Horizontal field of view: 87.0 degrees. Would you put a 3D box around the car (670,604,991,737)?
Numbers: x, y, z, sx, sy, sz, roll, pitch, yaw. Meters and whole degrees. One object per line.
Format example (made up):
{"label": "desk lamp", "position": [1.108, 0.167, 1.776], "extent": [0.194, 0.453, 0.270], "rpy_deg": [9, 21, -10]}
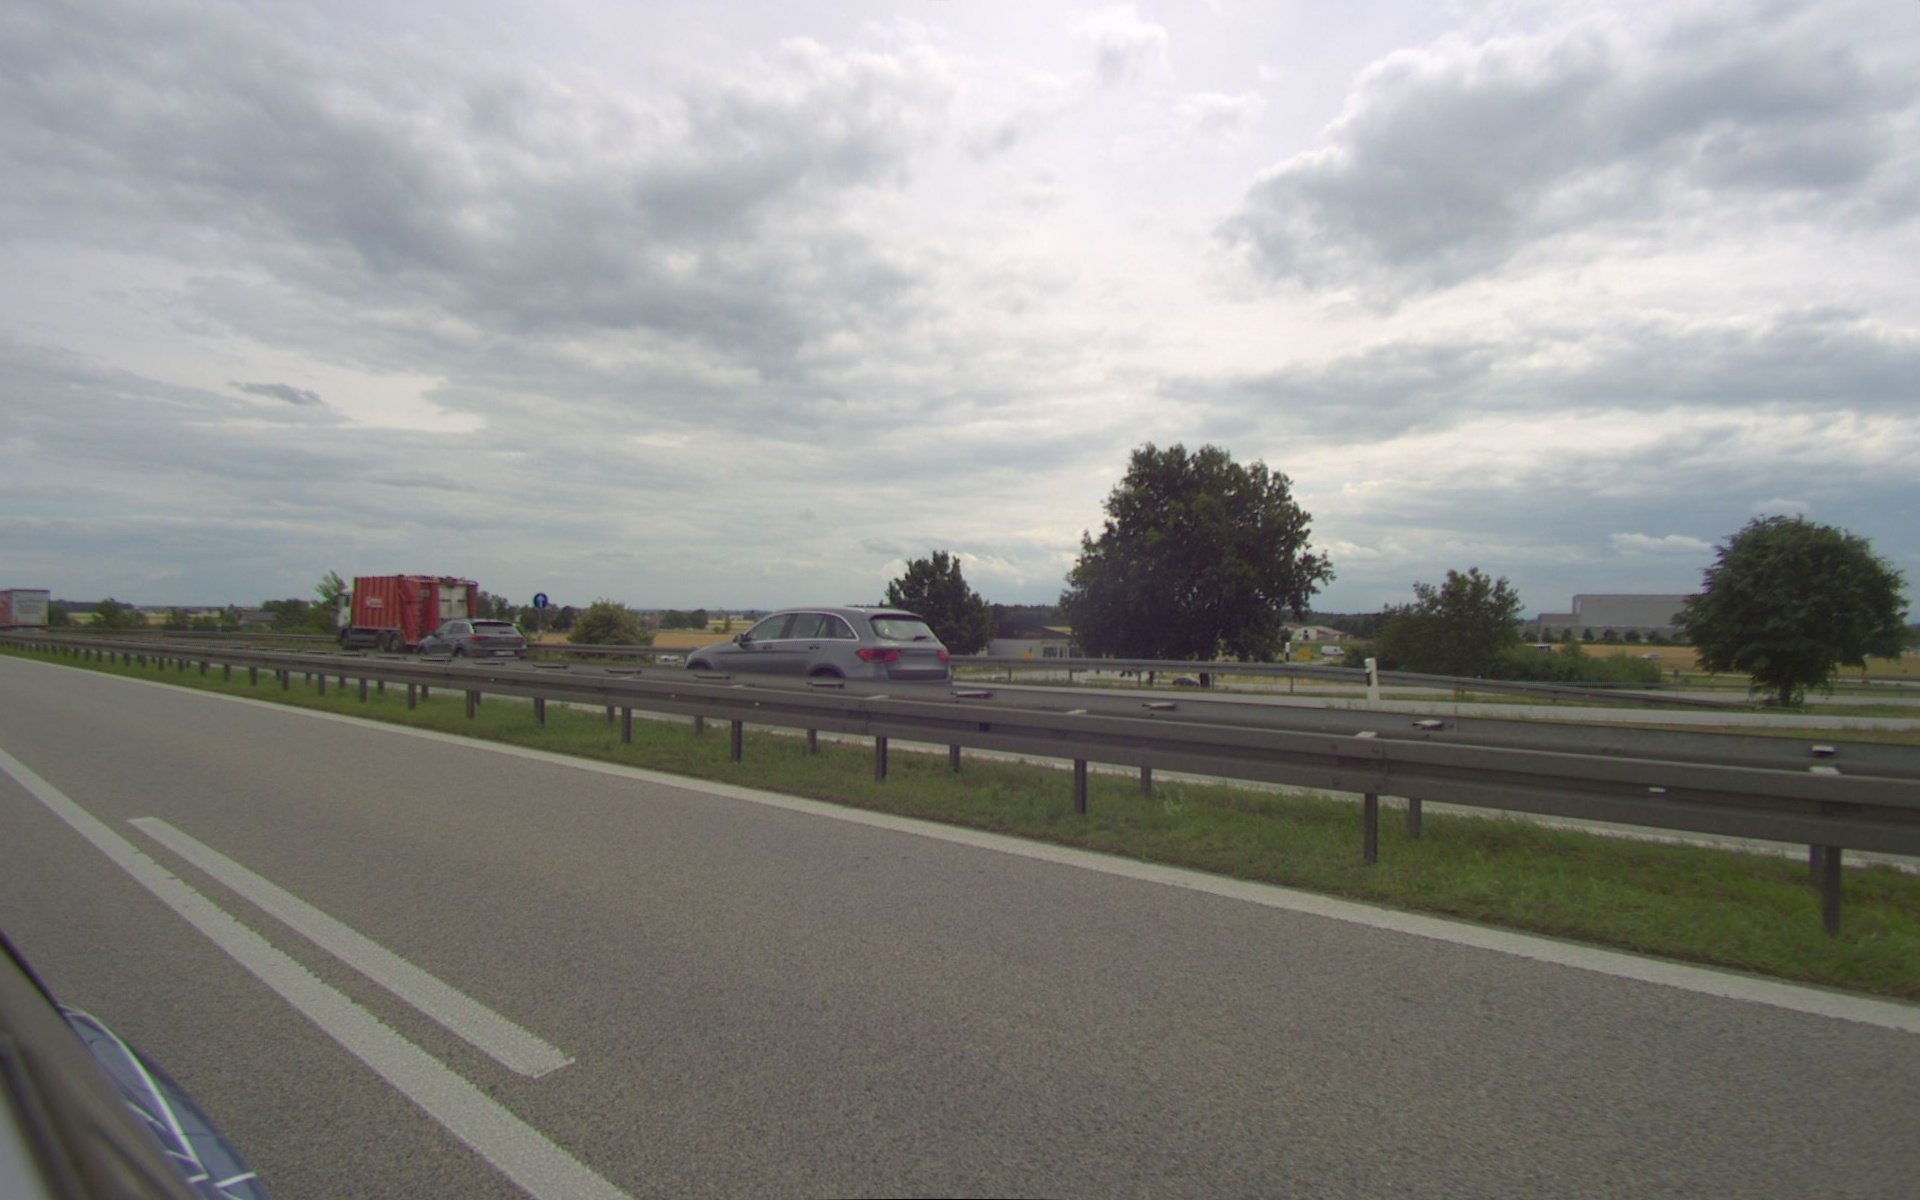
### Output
{"label": "car", "position": [-1.985, 0.915, 14.455], "extent": [4.760, 1.600, 1.871], "rpy_deg": [-1, -3, 41]}

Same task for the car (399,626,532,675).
{"label": "car", "position": [-14.671, 1.449, 29.906], "extent": [4.781, 1.356, 1.806], "rpy_deg": [-1, -3, 41]}

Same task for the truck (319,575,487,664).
{"label": "truck", "position": [-25.113, 0.911, 45.279], "extent": [11.069, 3.563, 2.641], "rpy_deg": [-1, -4, 40]}

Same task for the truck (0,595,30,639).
{"label": "truck", "position": [-89.479, 1.601, 94.694], "extent": [6.320, 3.977, 2.880], "rpy_deg": [-1, 0, 40]}

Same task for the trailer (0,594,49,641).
{"label": "trailer", "position": [-84.728, 1.528, 90.635], "extent": [13.967, 3.971, 2.879], "rpy_deg": [-1, 0, 41]}
